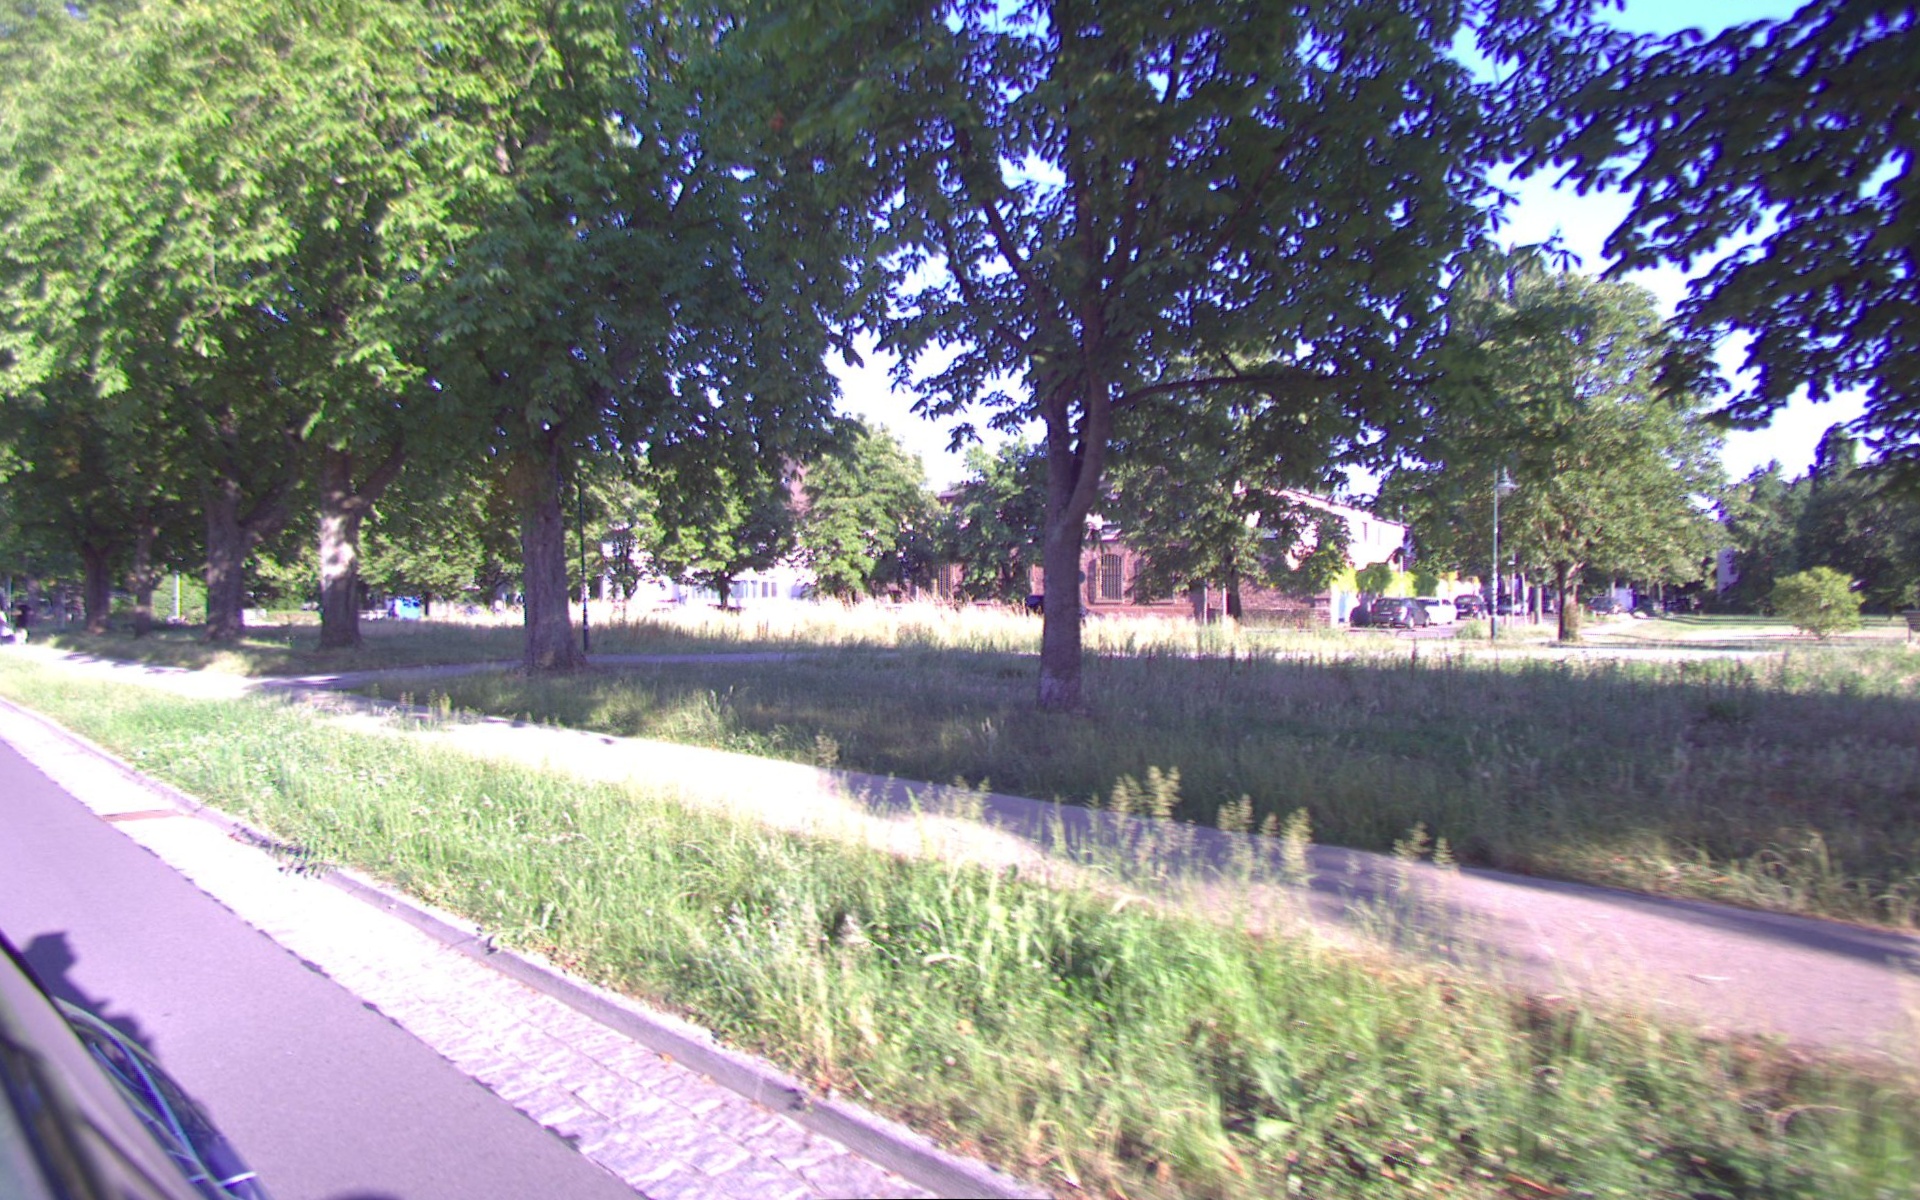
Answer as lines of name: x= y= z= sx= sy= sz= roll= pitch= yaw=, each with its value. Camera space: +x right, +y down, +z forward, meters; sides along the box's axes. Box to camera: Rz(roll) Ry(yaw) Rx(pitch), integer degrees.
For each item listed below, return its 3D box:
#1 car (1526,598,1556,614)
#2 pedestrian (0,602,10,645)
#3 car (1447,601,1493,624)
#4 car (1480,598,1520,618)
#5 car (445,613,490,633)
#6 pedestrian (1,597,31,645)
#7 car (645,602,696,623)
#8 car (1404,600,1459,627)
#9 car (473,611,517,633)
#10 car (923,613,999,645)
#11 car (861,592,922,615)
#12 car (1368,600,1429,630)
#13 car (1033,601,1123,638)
car: x=47.373 y=0.469 z=82.491 sx=1.585 sy=1.290 sz=3.592 roll=0 pitch=1 yaw=39
pedestrian: x=-37.223 y=0.923 z=39.061 sx=0.616 sy=1.643 sz=0.607 roll=-1 pitch=1 yaw=-23
car: x=30.999 y=0.742 z=61.481 sx=1.586 sy=1.290 sz=3.589 roll=0 pitch=1 yaw=42
car: x=37.630 y=0.556 z=70.496 sx=1.586 sy=1.290 sz=3.589 roll=0 pitch=1 yaw=42
car: x=-41.424 y=1.904 z=85.127 sx=4.424 sy=1.641 sz=1.849 roll=-1 pitch=0 yaw=41
pedestrian: x=-37.371 y=0.813 z=40.073 sx=0.616 sy=1.865 sz=0.606 roll=-1 pitch=0 yaw=-9
car: x=-20.993 y=0.870 z=73.334 sx=3.794 sy=1.490 sz=1.744 roll=0 pitch=1 yaw=41
car: x=24.481 y=0.677 z=52.522 sx=1.586 sy=1.290 sz=3.589 roll=0 pitch=1 yaw=42
car: x=-37.566 y=1.771 z=81.664 sx=3.998 sy=1.641 sz=1.744 roll=-1 pitch=0 yaw=41
car: x=0.042 y=1.558 z=55.588 sx=3.998 sy=1.641 sz=1.744 roll=-1 pitch=0 yaw=41
car: x=-4.027 y=0.201 z=59.361 sx=3.580 sy=1.284 sz=1.564 roll=0 pitch=1 yaw=42
car: x=20.626 y=0.689 z=47.560 sx=1.586 sy=1.290 sz=3.589 roll=0 pitch=1 yaw=42
car: x=5.031 y=0.794 z=43.415 sx=3.639 sy=1.492 sz=1.564 roll=0 pitch=1 yaw=42
